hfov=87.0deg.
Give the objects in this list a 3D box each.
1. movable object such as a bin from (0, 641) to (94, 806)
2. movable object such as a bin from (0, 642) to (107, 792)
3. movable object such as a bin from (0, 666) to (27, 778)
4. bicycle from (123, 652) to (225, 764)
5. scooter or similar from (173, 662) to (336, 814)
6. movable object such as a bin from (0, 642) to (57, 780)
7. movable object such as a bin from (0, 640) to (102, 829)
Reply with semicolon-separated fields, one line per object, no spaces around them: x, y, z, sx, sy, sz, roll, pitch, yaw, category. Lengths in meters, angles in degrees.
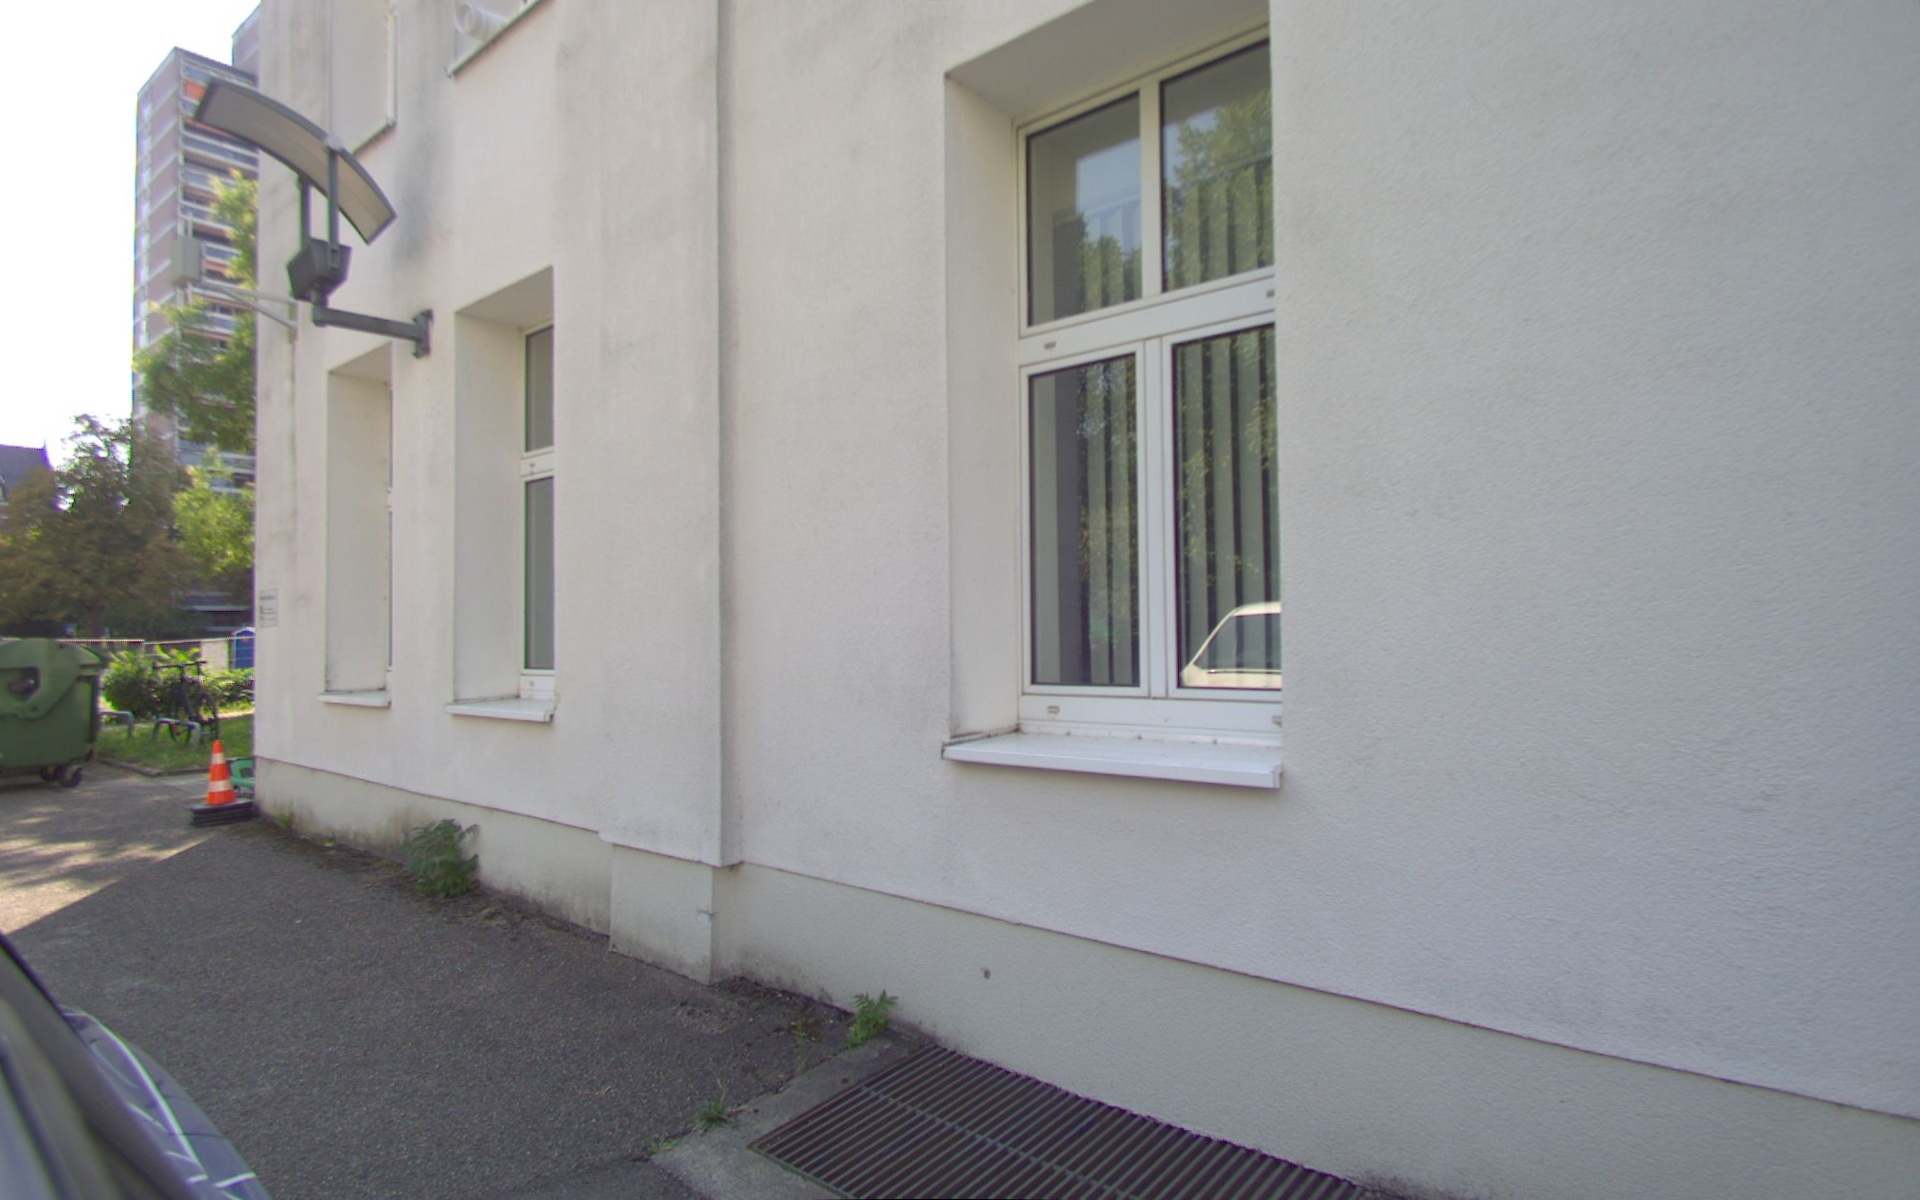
-10.443;1.320;11.167;1.395;1.719;1.167;-3;-4;44;movable object such as a bin
-11.342;1.373;12.287;1.374;1.719;1.170;-2;-4;36;movable object such as a bin
-13.681;1.664;13.828;1.103;1.509;1.027;-1;-3;28;movable object such as a bin
-9.372;1.240;12.040;2.006;1.222;0.471;-2;-4;39;bicycle
-6.311;1.201;9.047;1.484;1.272;0.383;-1;-3;20;scooter or similar
-12.578;1.403;12.983;1.374;1.719;1.170;-2;-4;36;movable object such as a bin
-9.267;1.254;9.766;1.374;1.719;1.170;-2;-4;36;movable object such as a bin
